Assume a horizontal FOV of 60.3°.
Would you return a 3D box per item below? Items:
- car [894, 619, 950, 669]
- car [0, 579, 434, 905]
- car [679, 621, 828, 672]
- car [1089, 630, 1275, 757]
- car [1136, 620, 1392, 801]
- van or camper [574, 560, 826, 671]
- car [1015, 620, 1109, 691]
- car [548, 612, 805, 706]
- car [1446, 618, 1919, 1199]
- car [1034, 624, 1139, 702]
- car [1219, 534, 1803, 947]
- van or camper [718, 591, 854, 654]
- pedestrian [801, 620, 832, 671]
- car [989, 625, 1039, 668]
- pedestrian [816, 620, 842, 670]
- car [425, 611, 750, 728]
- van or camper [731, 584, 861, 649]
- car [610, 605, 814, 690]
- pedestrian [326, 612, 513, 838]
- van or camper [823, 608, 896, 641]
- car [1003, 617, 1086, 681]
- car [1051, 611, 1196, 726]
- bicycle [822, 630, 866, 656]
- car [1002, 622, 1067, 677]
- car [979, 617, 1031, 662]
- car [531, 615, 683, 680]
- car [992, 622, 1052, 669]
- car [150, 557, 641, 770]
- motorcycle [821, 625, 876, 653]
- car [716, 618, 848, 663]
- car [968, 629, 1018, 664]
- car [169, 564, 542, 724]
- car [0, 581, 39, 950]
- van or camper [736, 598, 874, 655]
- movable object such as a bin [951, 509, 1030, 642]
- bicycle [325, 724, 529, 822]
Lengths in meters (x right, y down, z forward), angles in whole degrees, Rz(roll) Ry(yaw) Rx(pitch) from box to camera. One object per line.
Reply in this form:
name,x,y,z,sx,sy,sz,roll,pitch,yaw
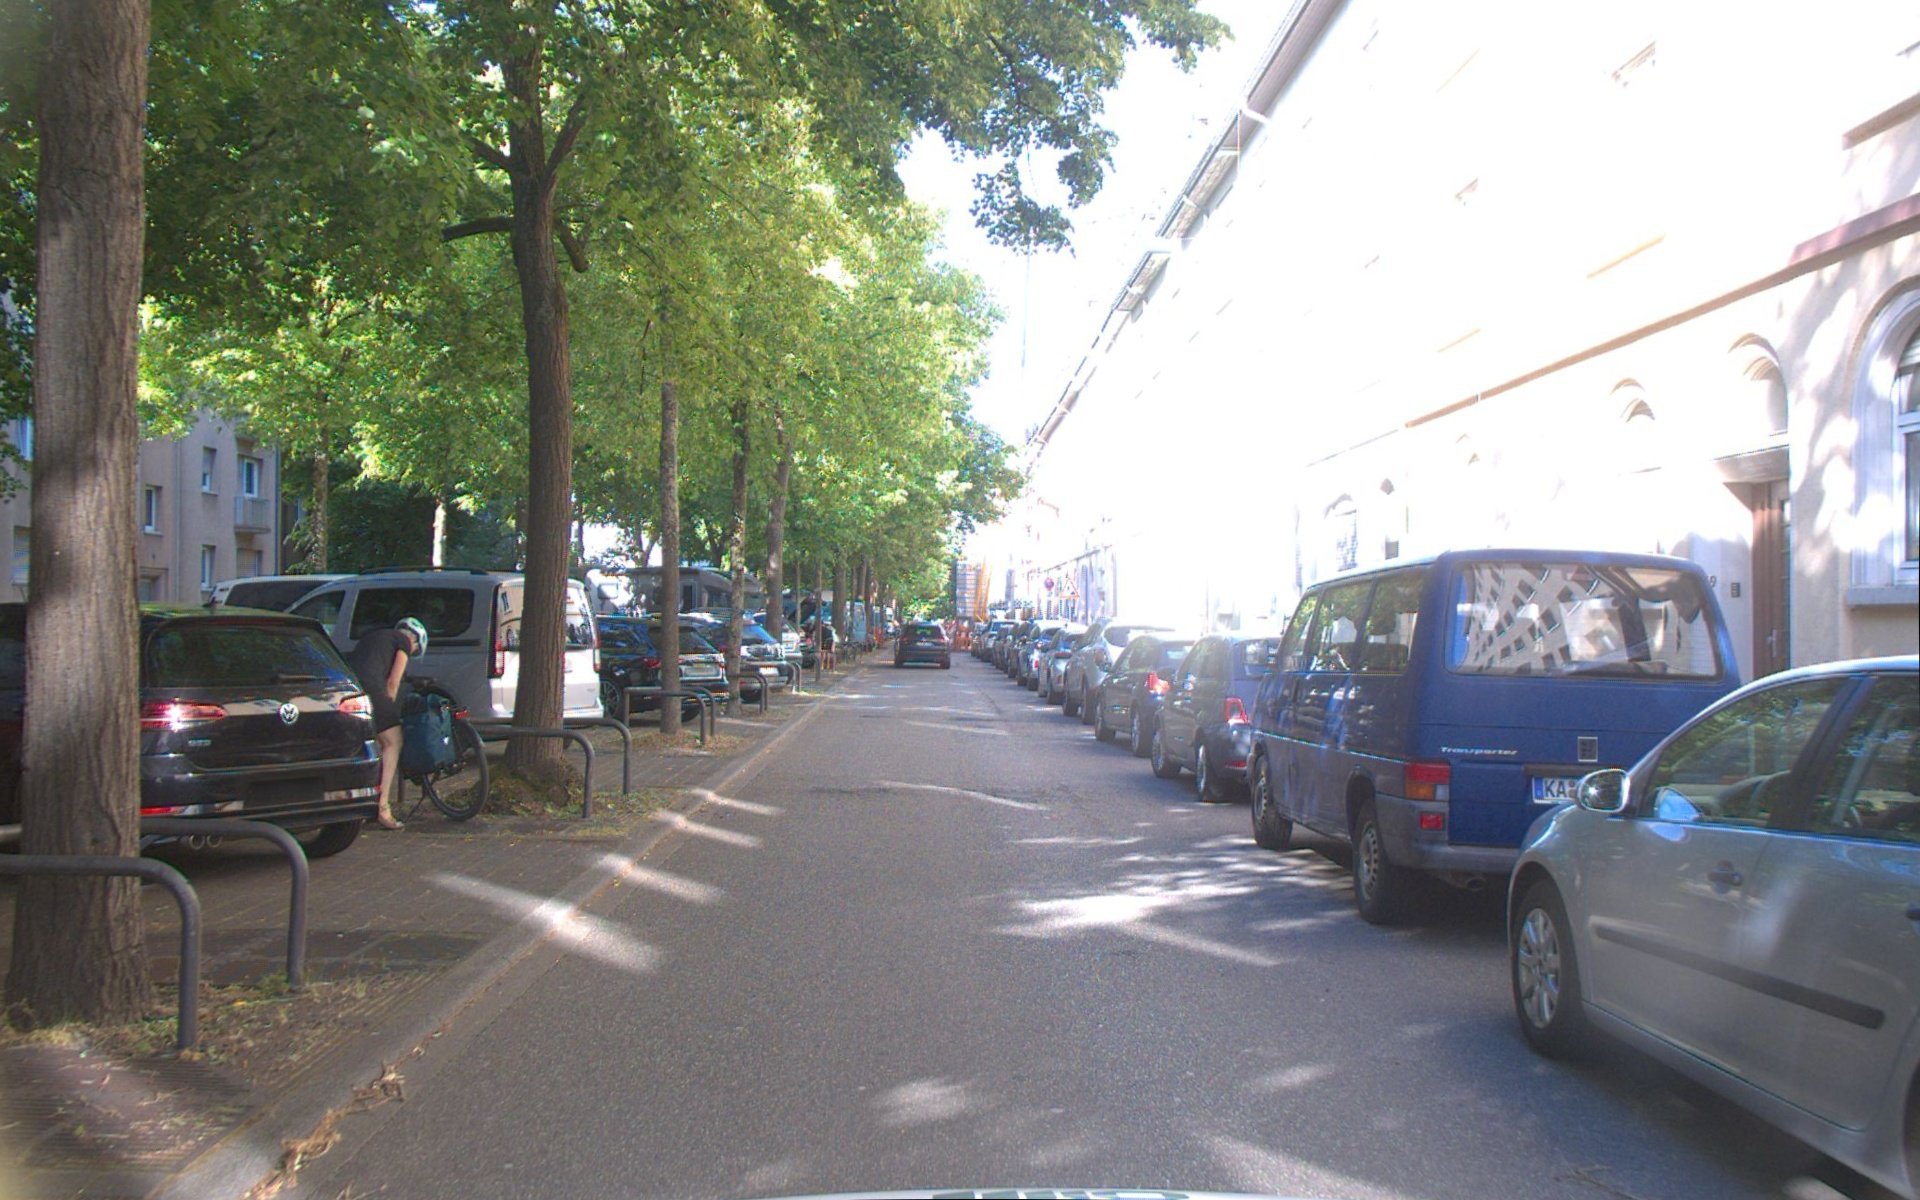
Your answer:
car,-1.269,1.398,53.584,1.761,1.530,3.584,0,-1,-2
car,-5.131,0.668,9.561,4.018,1.533,1.730,0,-1,30
car,-6.237,1.373,49.882,4.230,1.449,1.674,0,-1,25
car,2.687,1.104,20.813,1.519,1.418,3.857,0,-1,-5
car,2.772,0.957,15.800,1.589,1.524,3.592,0,-1,-4
van or camper,-7.483,0.448,47.377,7.083,2.981,2.312,0,-1,26
car,2.332,1.263,38.707,1.688,1.555,4.155,0,-1,-3
car,-4.948,0.988,28.685,4.328,1.487,1.712,0,-2,31
car,2.956,0.822,4.804,1.726,1.526,4.236,0,-1,-2
car,2.478,1.222,33.312,1.687,1.457,4.156,0,-1,-2
car,2.979,0.689,10.207,1.909,1.934,4.844,0,-1,-1
van or camper,-7.776,0.999,73.728,5.755,2.684,2.252,0,-1,28
pedestrian,-4.213,1.325,48.546,0.695,1.481,0.596,0,-1,22
car,1.896,1.642,59.162,1.585,1.437,3.786,0,-1,-1
pedestrian,-3.878,1.335,49.050,0.602,1.481,0.519,0,-1,22
car,-5.212,0.905,22.984,4.392,1.481,1.784,0,-1,31
van or camper,-8.632,0.880,86.815,6.527,3.298,2.492,0,-1,27
car,-5.287,0.980,35.210,4.054,1.709,1.757,0,-1,28
pedestrian,-3.592,0.796,11.035,0.737,1.421,0.927,0,-1,30
van or camper,-7.803,1.870,128.323,5.234,2.518,2.289,0,-1,31
car,2.205,1.279,44.238,1.688,1.625,4.154,0,-1,-5
car,2.569,1.053,26.929,1.688,1.715,4.154,0,-1,-4
bicycle,-4.606,1.716,65.873,1.702,1.024,0.506,1,-1,-32
car,2.199,1.451,49.302,1.598,1.561,3.590,0,-1,-3
car,1.733,1.512,64.744,1.780,1.703,4.672,0,-1,-1
car,-8.767,1.143,41.018,3.469,1.534,1.753,-1,-1,32
car,1.972,1.460,53.868,1.598,1.437,4.086,0,-1,-3
car,-5.668,0.565,16.649,4.418,1.897,2.080,1,-1,24
motorcycle,-5.232,1.822,77.724,2.496,1.281,0.763,0,-1,6
car,-6.131,1.384,56.911,4.393,1.468,1.728,0,-1,31
car,1.444,2.045,74.088,1.953,1.434,4.498,1,-1,-2
car,-7.785,0.559,21.261,4.502,1.864,2.016,-1,-2,28
car,-6.051,0.657,7.170,3.913,1.529,1.845,0,-1,30
van or camper,-6.532,1.114,69.511,5.386,2.315,2.220,0,-1,23
movable object such as a bin,1.607,-1.260,87.938,3.415,6.878,2.363,0,-1,31
bicycle,-3.747,1.195,11.585,1.579,0.568,0.409,0,-1,30
